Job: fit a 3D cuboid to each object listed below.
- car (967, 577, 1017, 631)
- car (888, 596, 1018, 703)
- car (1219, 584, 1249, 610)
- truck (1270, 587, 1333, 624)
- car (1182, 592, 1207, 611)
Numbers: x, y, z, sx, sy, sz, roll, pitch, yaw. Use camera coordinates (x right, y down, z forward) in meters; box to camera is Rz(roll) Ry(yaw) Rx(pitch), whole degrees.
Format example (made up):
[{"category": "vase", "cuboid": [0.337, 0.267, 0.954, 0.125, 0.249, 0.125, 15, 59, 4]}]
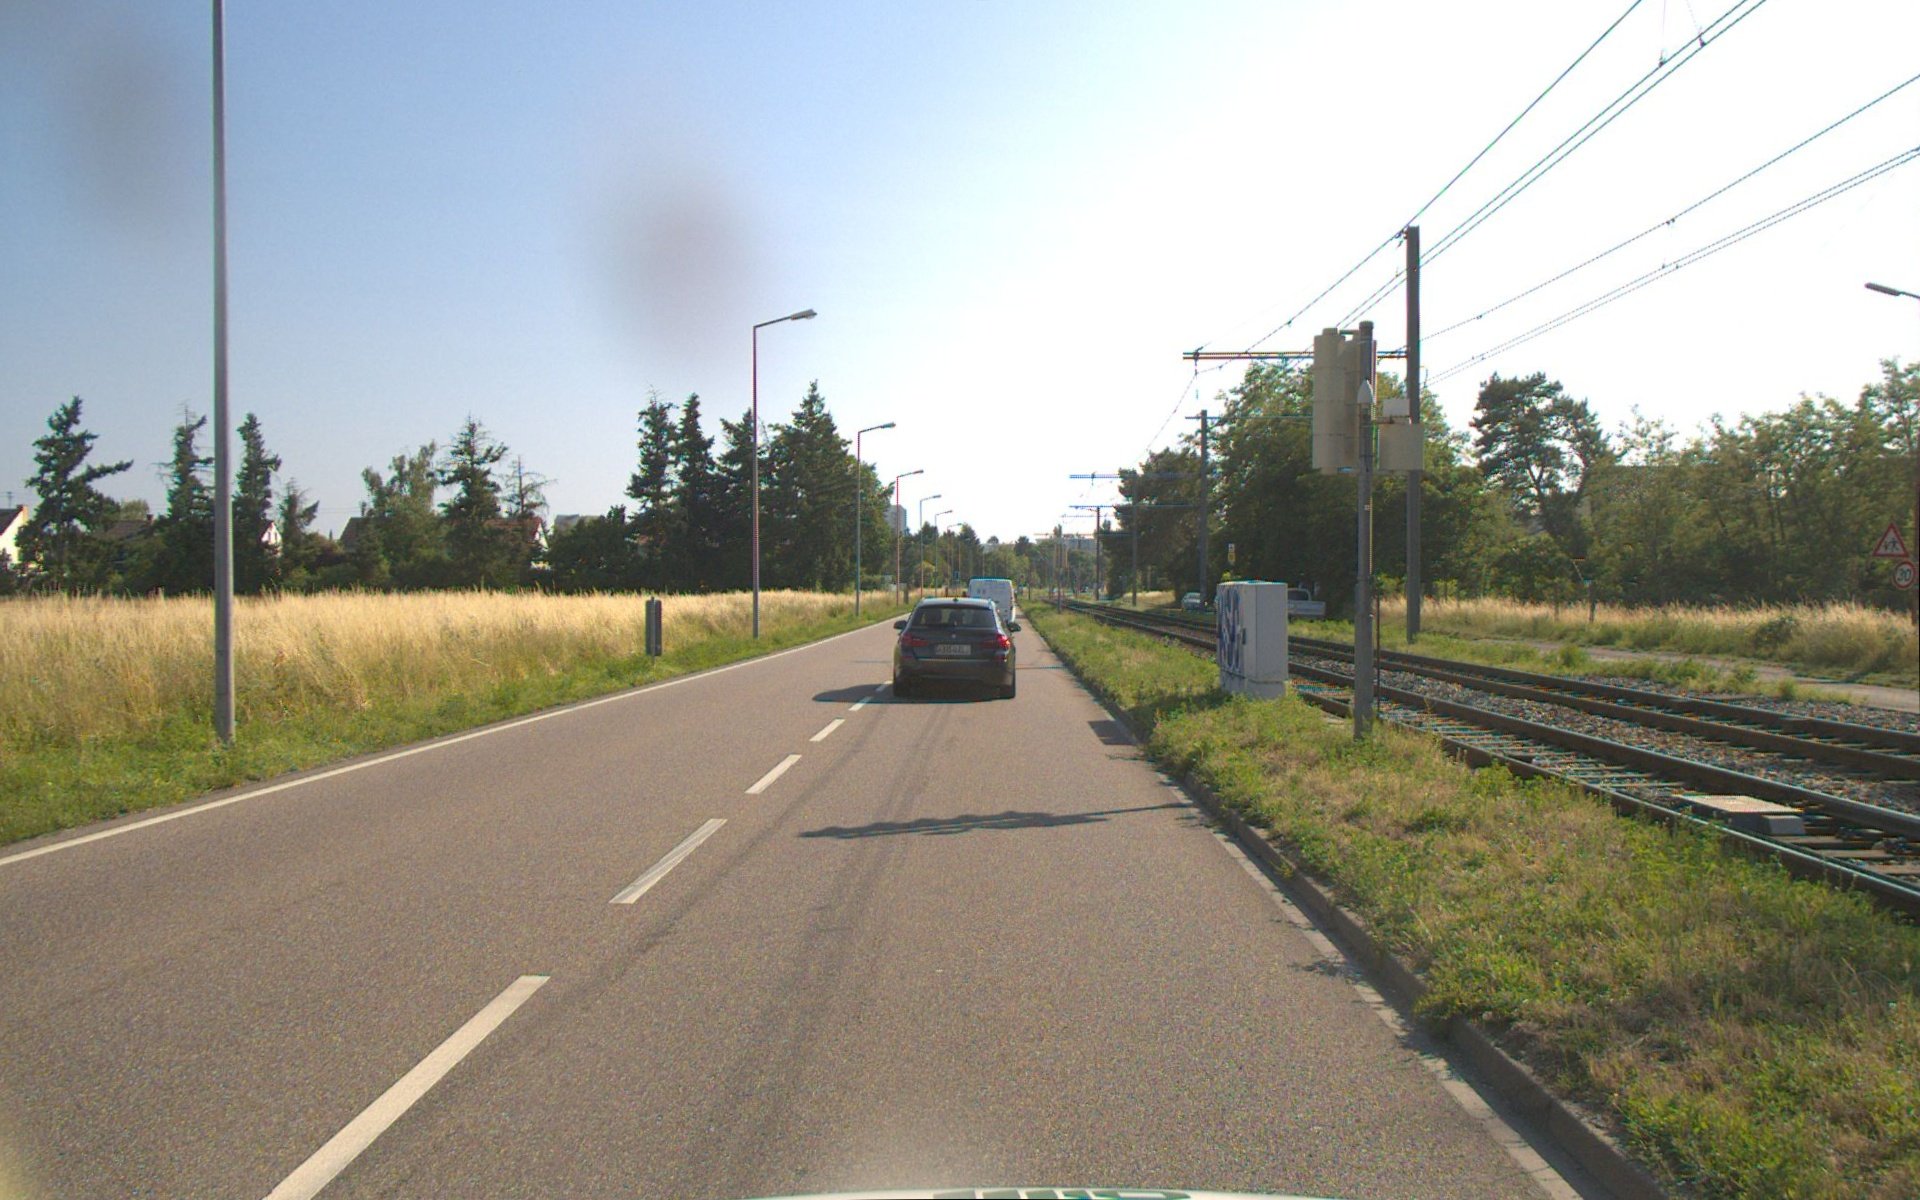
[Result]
[{"category": "car", "cuboid": [1.224, 0.123, 65.314, 1.819, 2.023, 5.108, 1, 0, 0]}, {"category": "car", "cuboid": [-0.076, 0.704, 25.879, 1.830, 1.478, 4.744, 1, 0, 0]}, {"category": "car", "cuboid": [18.955, -0.185, 114.610, 1.698, 1.709, 3.545, 2, -1, 4]}, {"category": "truck", "cuboid": [17.794, 0.293, 86.486, 2.159, 1.851, 5.930, 0, 0, 1]}, {"category": "car", "cuboid": [18.757, 0.148, 132.602, 1.588, 1.423, 3.490, 2, -1, 2]}]
